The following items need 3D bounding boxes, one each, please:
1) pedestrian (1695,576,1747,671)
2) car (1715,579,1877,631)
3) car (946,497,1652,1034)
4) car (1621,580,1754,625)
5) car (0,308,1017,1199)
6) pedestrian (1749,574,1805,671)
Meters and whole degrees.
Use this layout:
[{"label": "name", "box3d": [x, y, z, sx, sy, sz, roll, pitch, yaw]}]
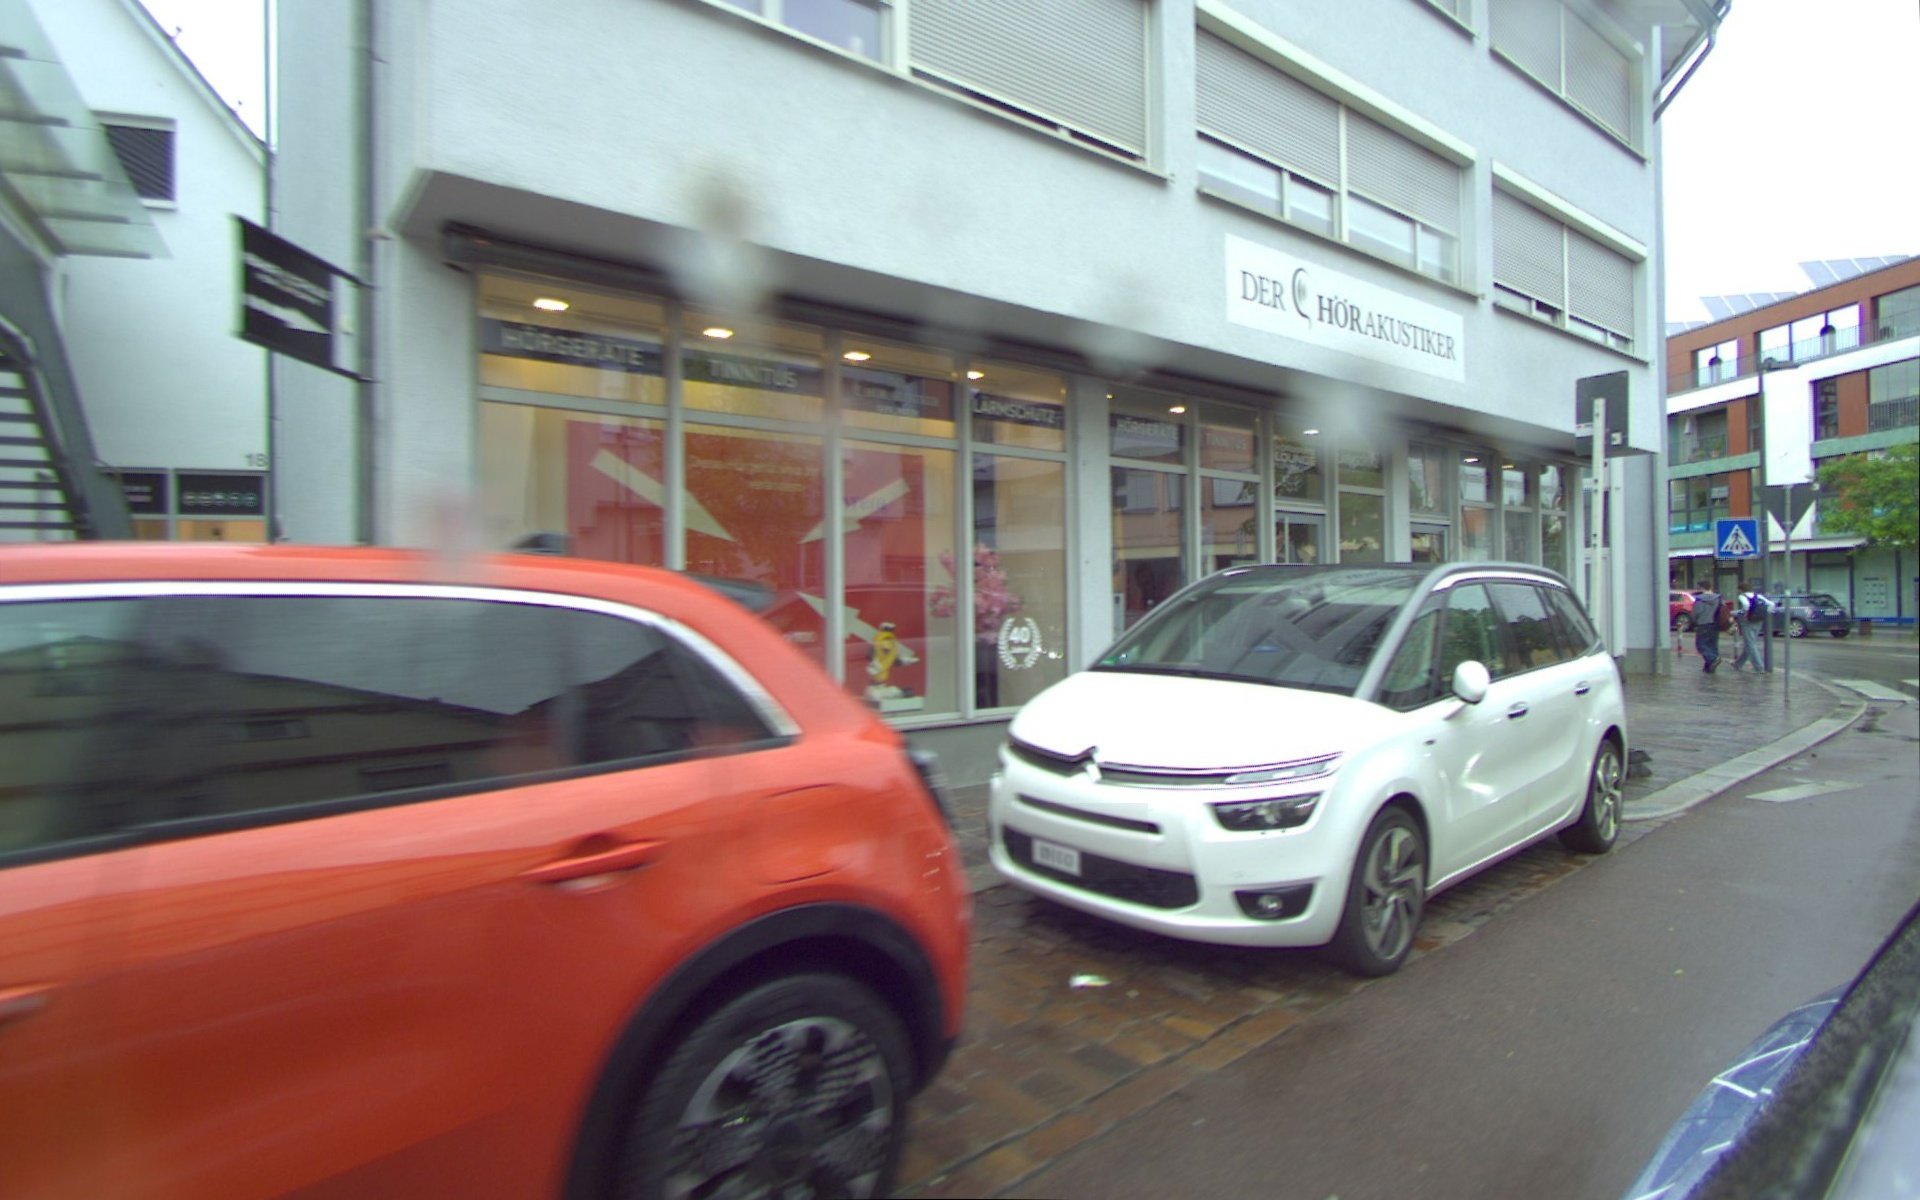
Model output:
[{"label": "pedestrian", "box3d": [14.915, 0.456, 19.847, 0.692, 1.834, 0.507, 0, 0, 24]}, {"label": "car", "box3d": [27.737, 0.137, 33.745, 1.684, 1.594, 4.007, 0, 1, -11]}, {"label": "car", "box3d": [2.049, 0.500, 5.285, 4.206, 1.711, 1.692, -1, 1, -43]}, {"label": "car", "box3d": [27.462, 0.061, 38.376, 1.684, 1.594, 4.007, 0, 1, -11]}, {"label": "car", "box3d": [-1.896, 0.500, 1.722, 3.888, 1.711, 1.693, -1, 0, -40]}, {"label": "pedestrian", "box3d": [15.787, 0.431, 19.577, 0.665, 1.834, 0.675, 0, 0, 24]}]
